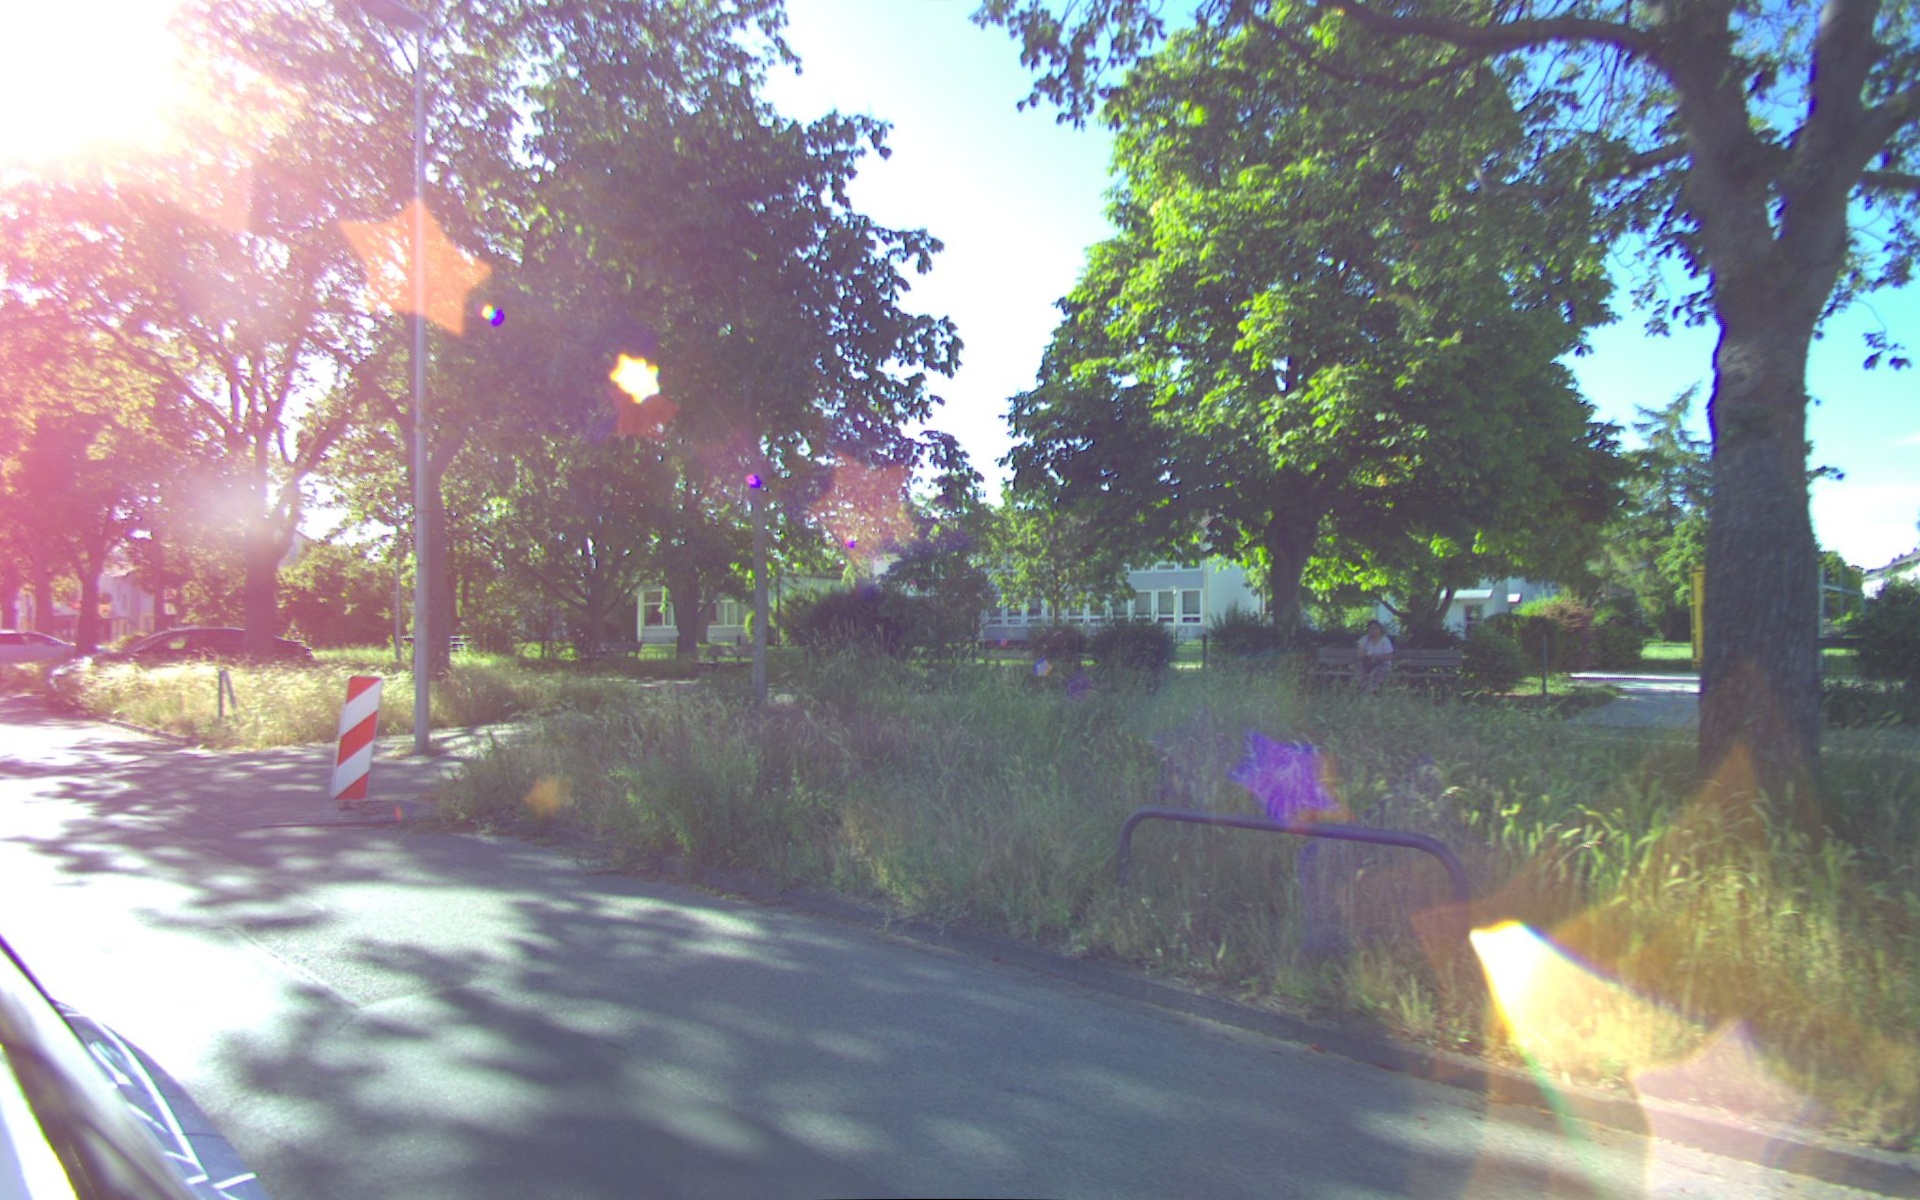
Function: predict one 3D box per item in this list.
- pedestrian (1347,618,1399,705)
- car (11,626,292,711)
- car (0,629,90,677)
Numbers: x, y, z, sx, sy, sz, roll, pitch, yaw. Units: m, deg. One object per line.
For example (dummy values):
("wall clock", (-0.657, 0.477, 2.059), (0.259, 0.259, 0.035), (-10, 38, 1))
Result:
("pedestrian", (5.887, 0.858, 14.419), (0.521, 1.166, 0.632), (-1, 2, 38))
("car", (-17.672, 1.418, 22.307), (1.998, 1.573, 4.557), (-2, -1, 40))
("car", (-33.040, 1.835, 35.059), (1.998, 1.573, 4.151), (-2, -1, 40))
